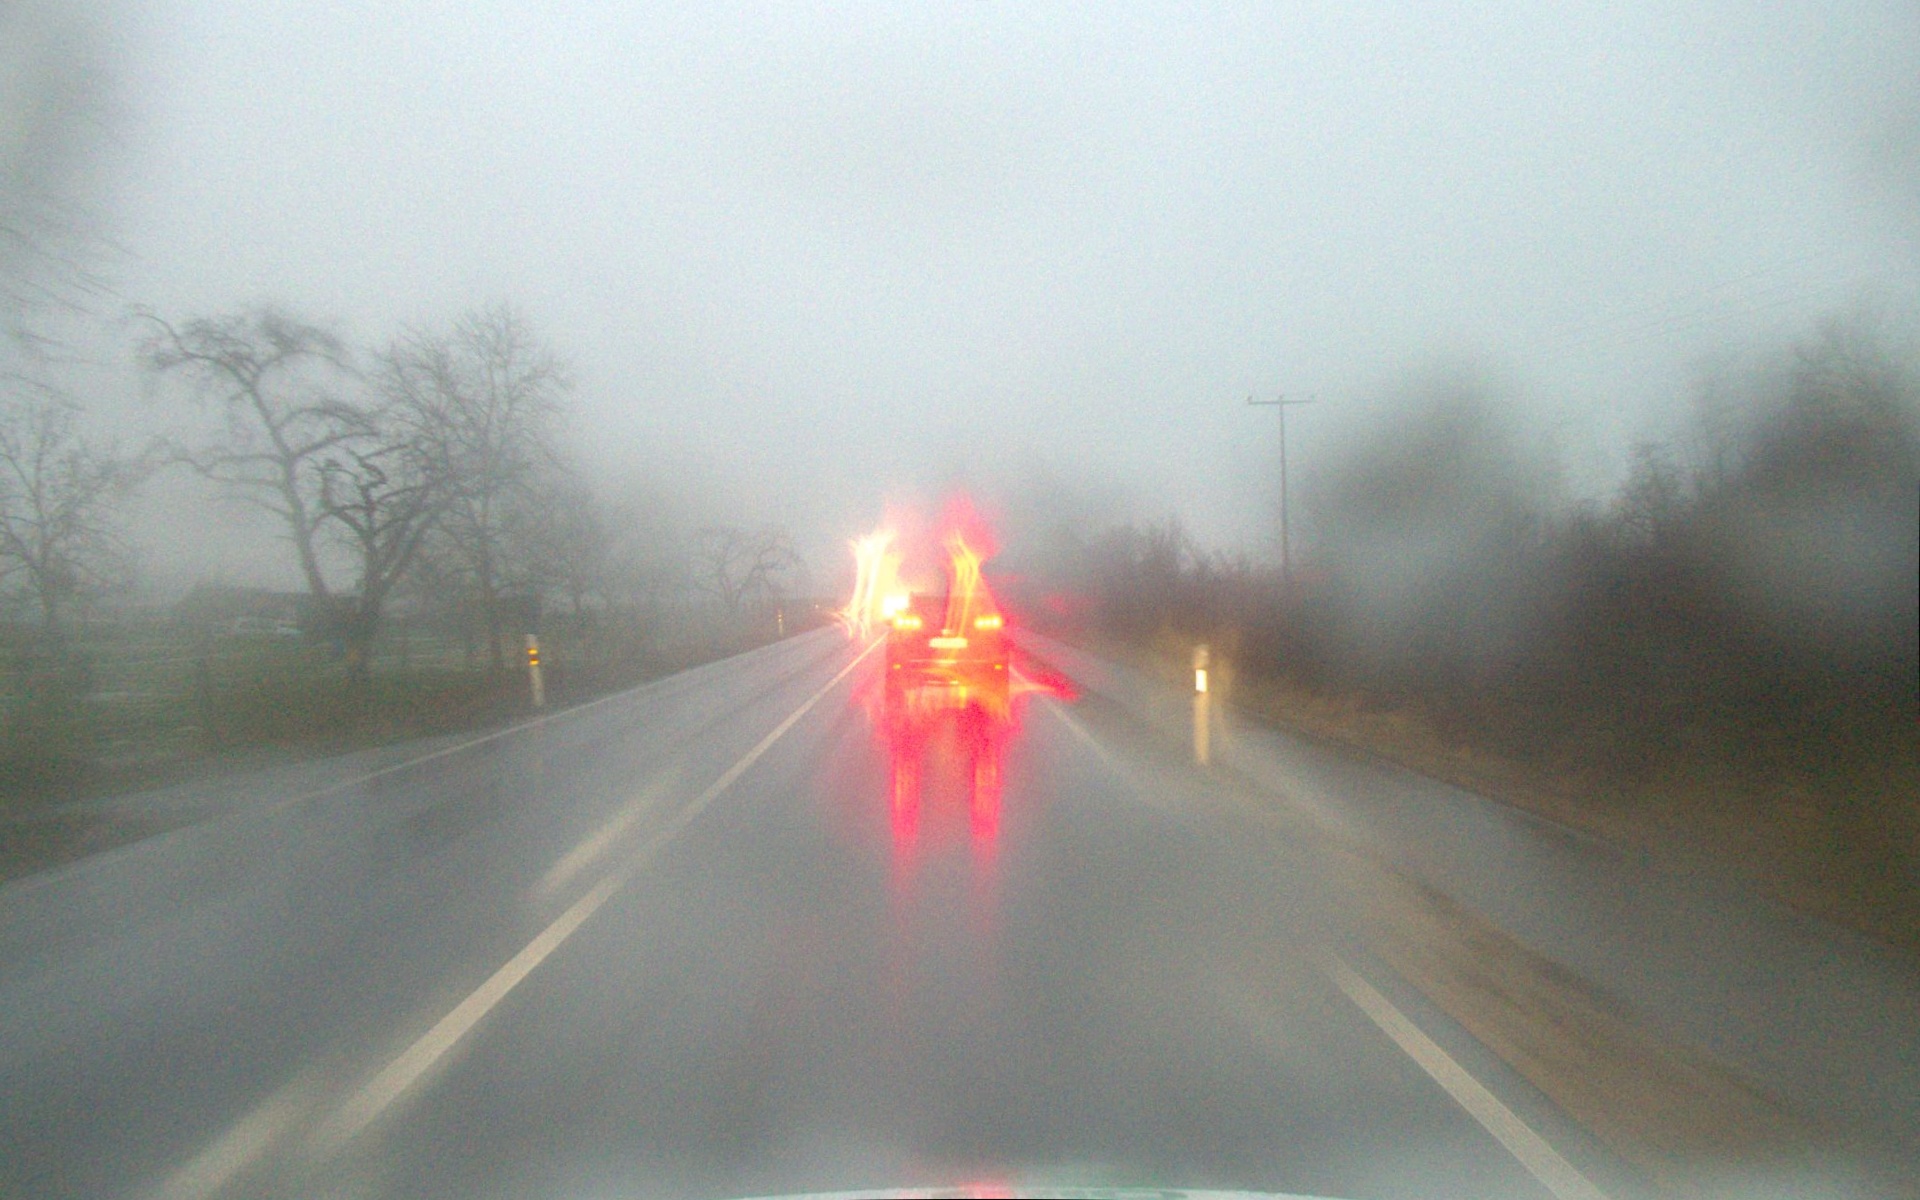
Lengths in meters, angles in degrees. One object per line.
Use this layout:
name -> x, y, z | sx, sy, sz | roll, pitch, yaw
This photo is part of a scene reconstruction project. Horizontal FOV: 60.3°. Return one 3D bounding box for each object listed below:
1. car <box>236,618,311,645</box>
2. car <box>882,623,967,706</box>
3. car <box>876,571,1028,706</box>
car -> -35.696, 1.636, 86.112 | 3.384, 1.366, 1.593 | 1, 0, -16
car -> -0.866, 1.538, 40.686 | 1.953, 1.881, 3.999 | 1, 0, -1
car -> -0.151, 0.520, 25.256 | 2.077, 1.852, 4.979 | 0, 0, -1
